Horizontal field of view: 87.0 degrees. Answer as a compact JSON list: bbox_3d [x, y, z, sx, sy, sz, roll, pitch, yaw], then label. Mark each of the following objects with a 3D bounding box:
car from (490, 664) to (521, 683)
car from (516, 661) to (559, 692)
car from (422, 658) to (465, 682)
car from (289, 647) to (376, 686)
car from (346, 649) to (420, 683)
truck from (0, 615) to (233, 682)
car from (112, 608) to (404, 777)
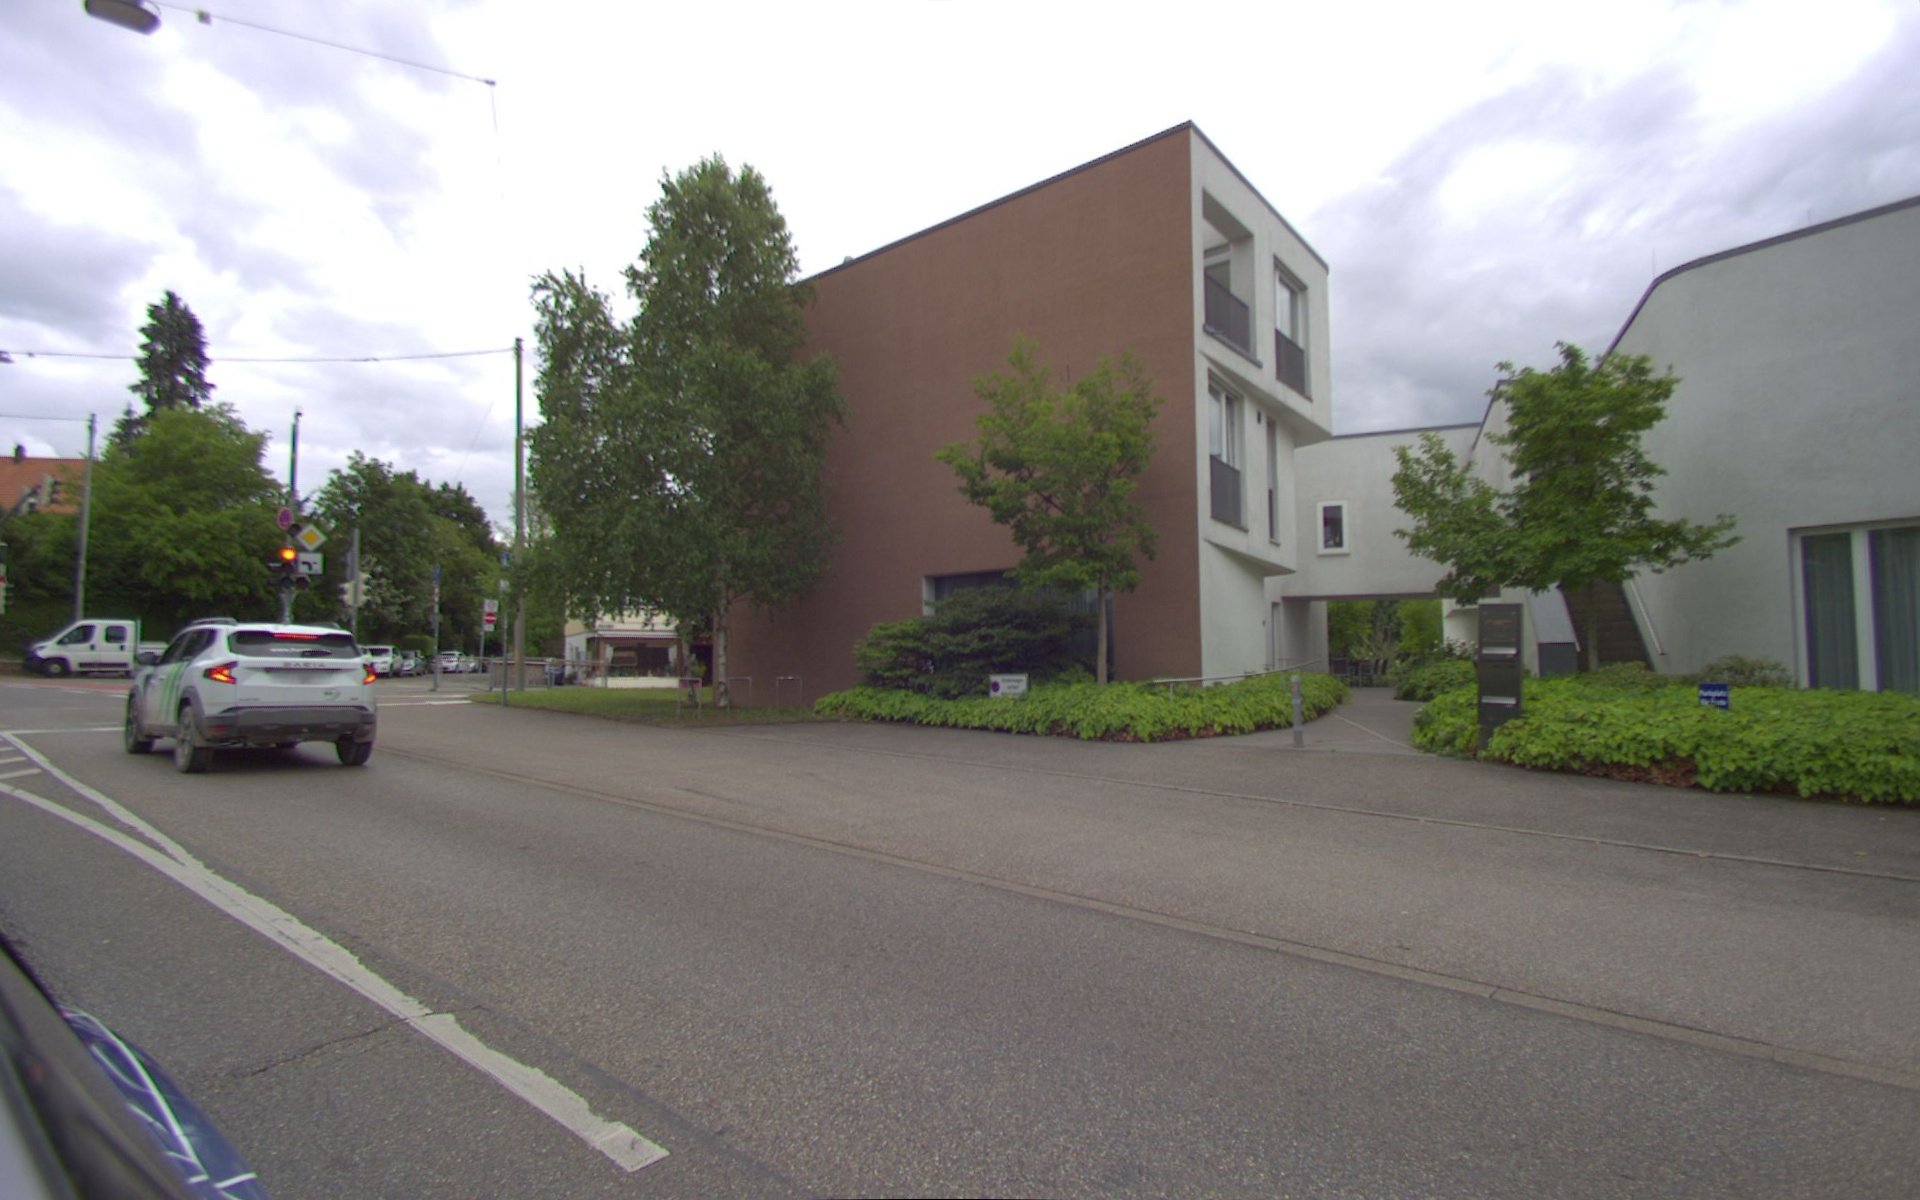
[{"bbox_3d":[-40.290,6.469,89.757,1.841,1.599,3.740,2,-4,-14],"label":"car"},{"bbox_3d":[-21.246,3.817,50.803,1.848,1.460,4.013,3,-5,-24],"label":"car"},{"bbox_3d":[-36.256,4.886,71.122,1.841,1.599,3.740,2,-4,-14],"label":"car"},{"bbox_3d":[-28.337,3.007,45.874,1.967,1.625,4.008,2,-4,-11],"label":"car"},{"bbox_3d":[-29.239,3.364,51.416,1.967,1.625,4.008,2,-4,-11],"label":"car"},{"bbox_3d":[-31.707,1.883,38.285,6.609,2.205,2.535,5,-5,-38],"label":"truck"},{"bbox_3d":[-8.429,1.037,12.004,4.300,1.650,1.750,-2,-7,41],"label":"car"}]
